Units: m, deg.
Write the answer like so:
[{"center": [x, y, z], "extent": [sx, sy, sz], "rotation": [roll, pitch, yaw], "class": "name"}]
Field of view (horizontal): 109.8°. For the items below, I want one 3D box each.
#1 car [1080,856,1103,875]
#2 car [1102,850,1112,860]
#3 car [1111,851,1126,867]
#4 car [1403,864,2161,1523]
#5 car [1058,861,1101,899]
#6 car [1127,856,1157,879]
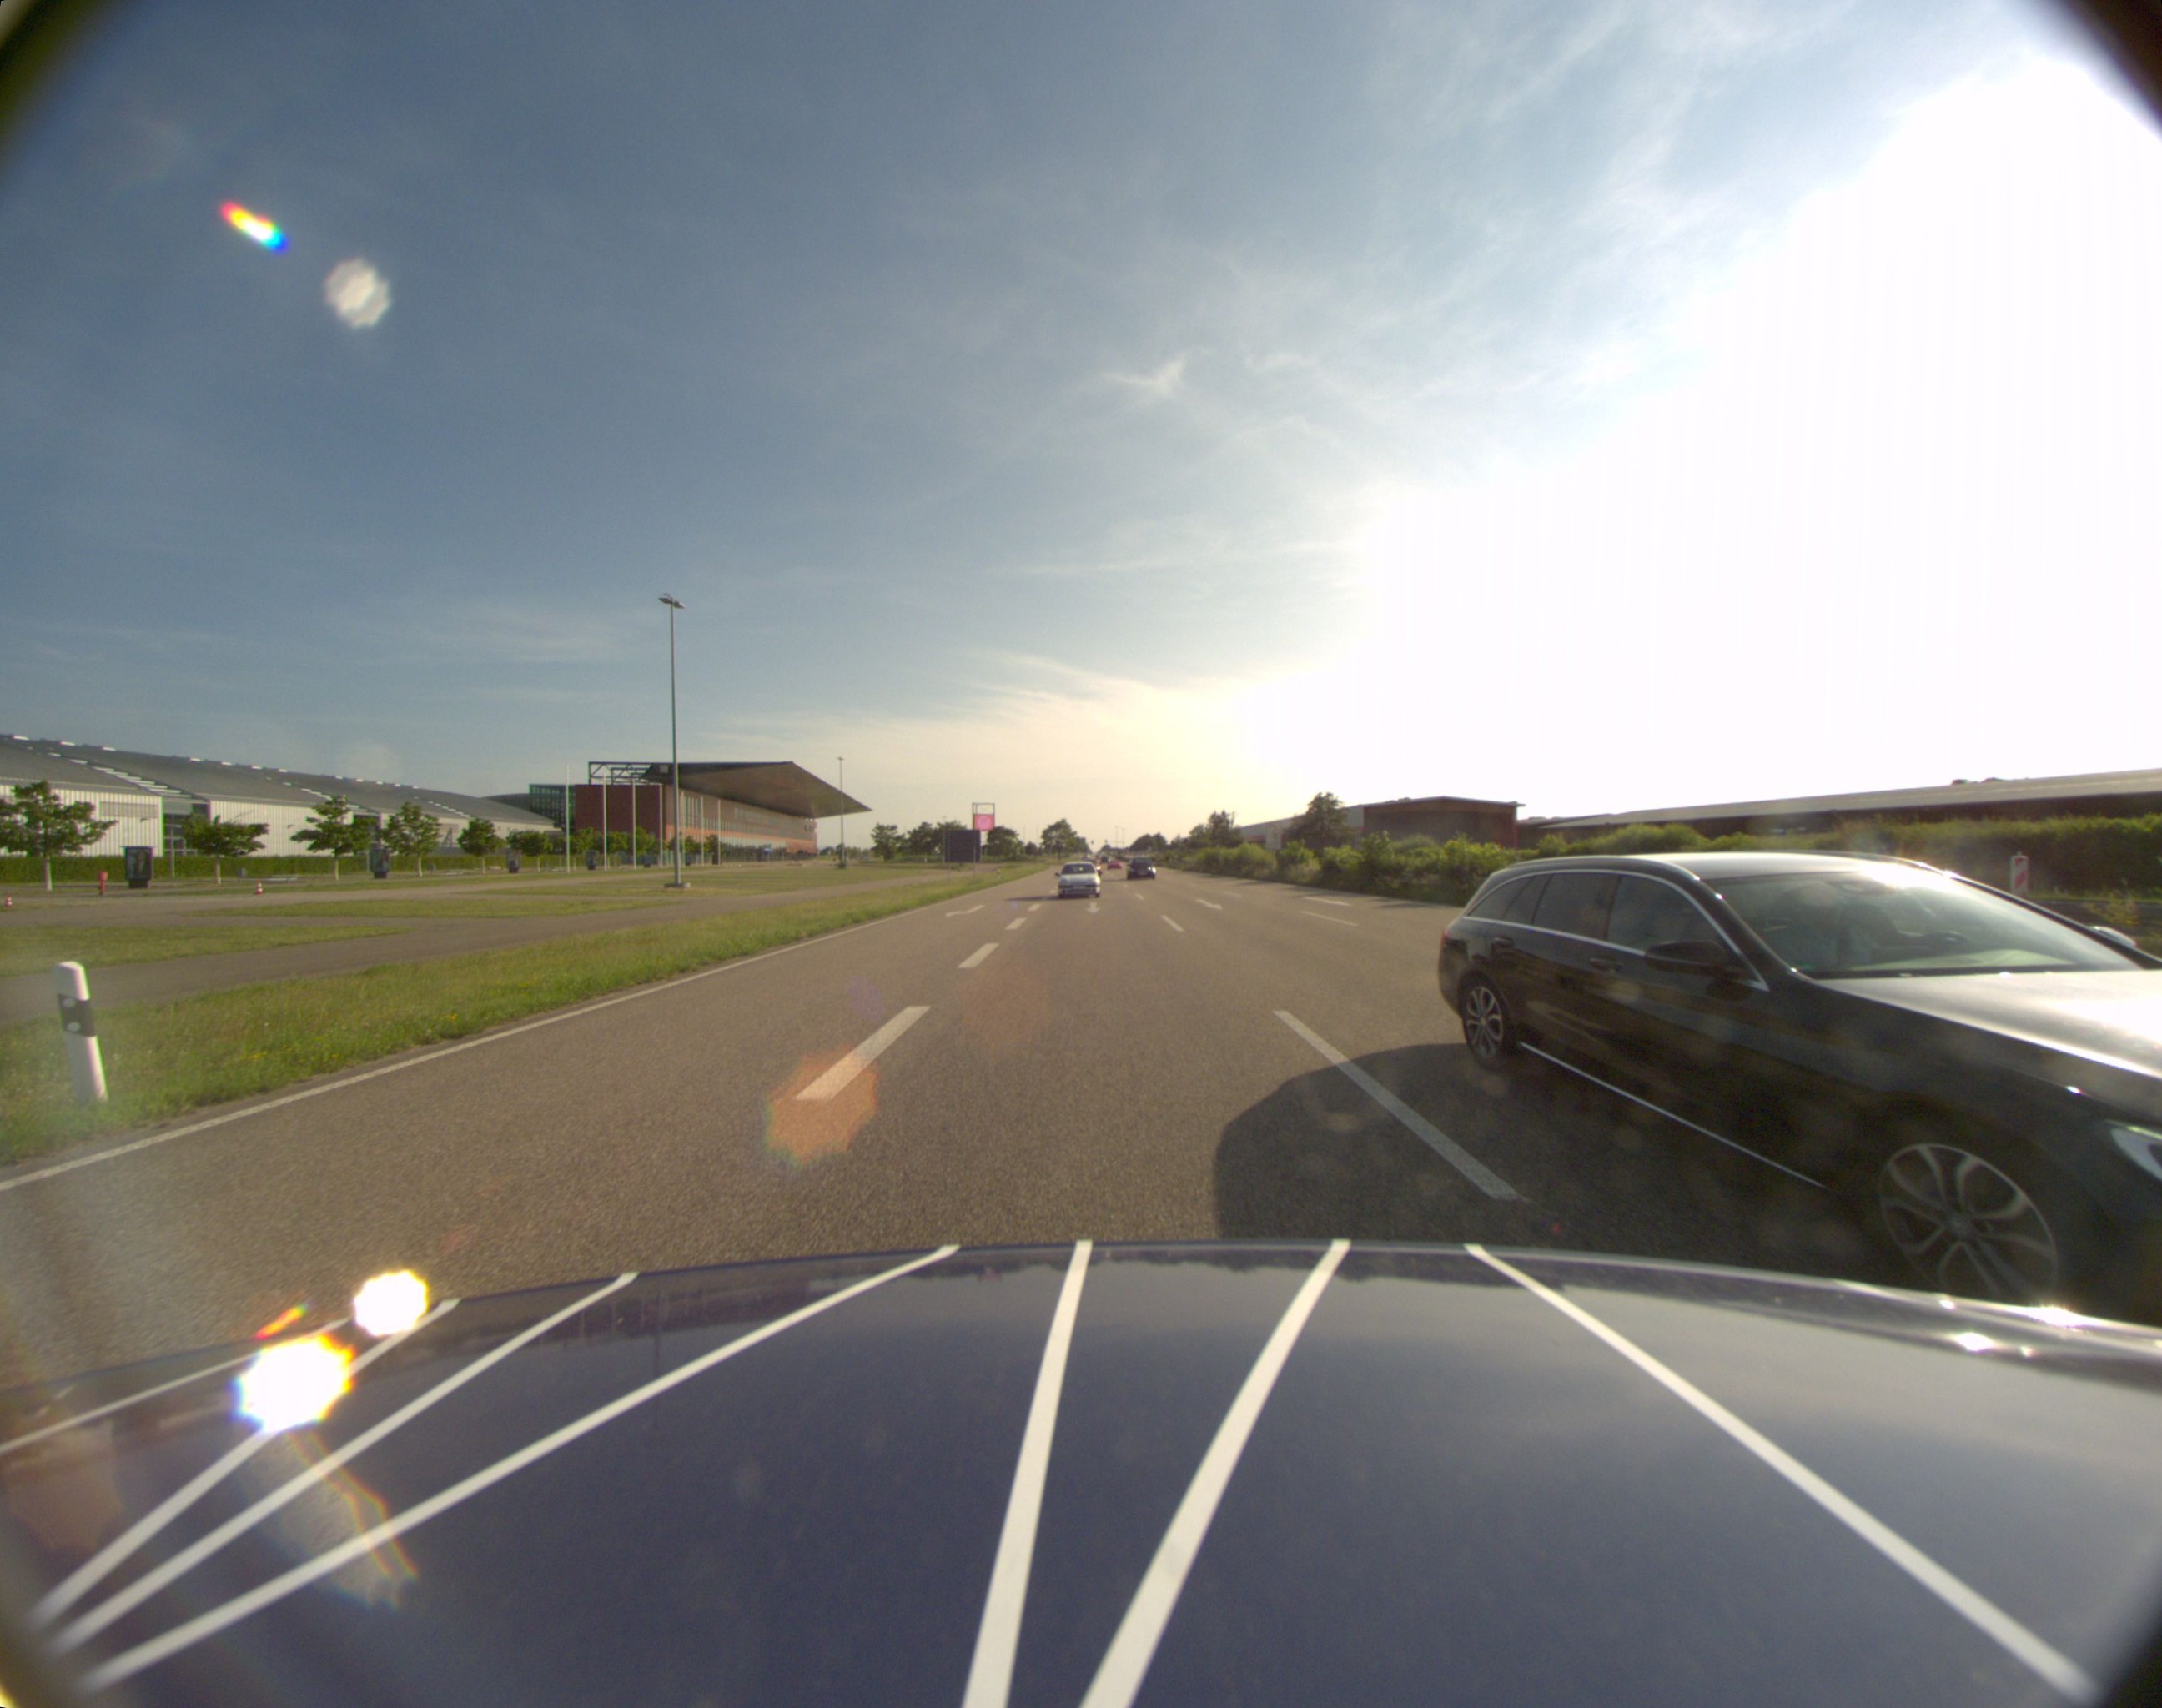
[{"center": [0.885, 0.947, 63.422], "extent": [1.751, 1.512, 3.739], "rotation": [-1, 0, 1], "class": "car"}, {"center": [5.081, 0.156, 149.319], "extent": [1.998, 2.002, 4.000], "rotation": [-1, 0, 1], "class": "car"}, {"center": [4.650, 0.593, 94.857], "extent": [1.799, 1.926, 4.000], "rotation": [-1, 0, 1], "class": "car"}, {"center": [3.386, 0.836, 3.703], "extent": [1.576, 1.462, 5.022], "rotation": [-1, 0, 1], "class": "car"}, {"center": [-0.033, 1.005, 30.525], "extent": [1.578, 1.371, 3.452], "rotation": [-1, 0, 1], "class": "car"}, {"center": [4.117, 0.888, 51.577], "extent": [1.758, 1.499, 3.422], "rotation": [-1, 0, 1], "class": "car"}]
